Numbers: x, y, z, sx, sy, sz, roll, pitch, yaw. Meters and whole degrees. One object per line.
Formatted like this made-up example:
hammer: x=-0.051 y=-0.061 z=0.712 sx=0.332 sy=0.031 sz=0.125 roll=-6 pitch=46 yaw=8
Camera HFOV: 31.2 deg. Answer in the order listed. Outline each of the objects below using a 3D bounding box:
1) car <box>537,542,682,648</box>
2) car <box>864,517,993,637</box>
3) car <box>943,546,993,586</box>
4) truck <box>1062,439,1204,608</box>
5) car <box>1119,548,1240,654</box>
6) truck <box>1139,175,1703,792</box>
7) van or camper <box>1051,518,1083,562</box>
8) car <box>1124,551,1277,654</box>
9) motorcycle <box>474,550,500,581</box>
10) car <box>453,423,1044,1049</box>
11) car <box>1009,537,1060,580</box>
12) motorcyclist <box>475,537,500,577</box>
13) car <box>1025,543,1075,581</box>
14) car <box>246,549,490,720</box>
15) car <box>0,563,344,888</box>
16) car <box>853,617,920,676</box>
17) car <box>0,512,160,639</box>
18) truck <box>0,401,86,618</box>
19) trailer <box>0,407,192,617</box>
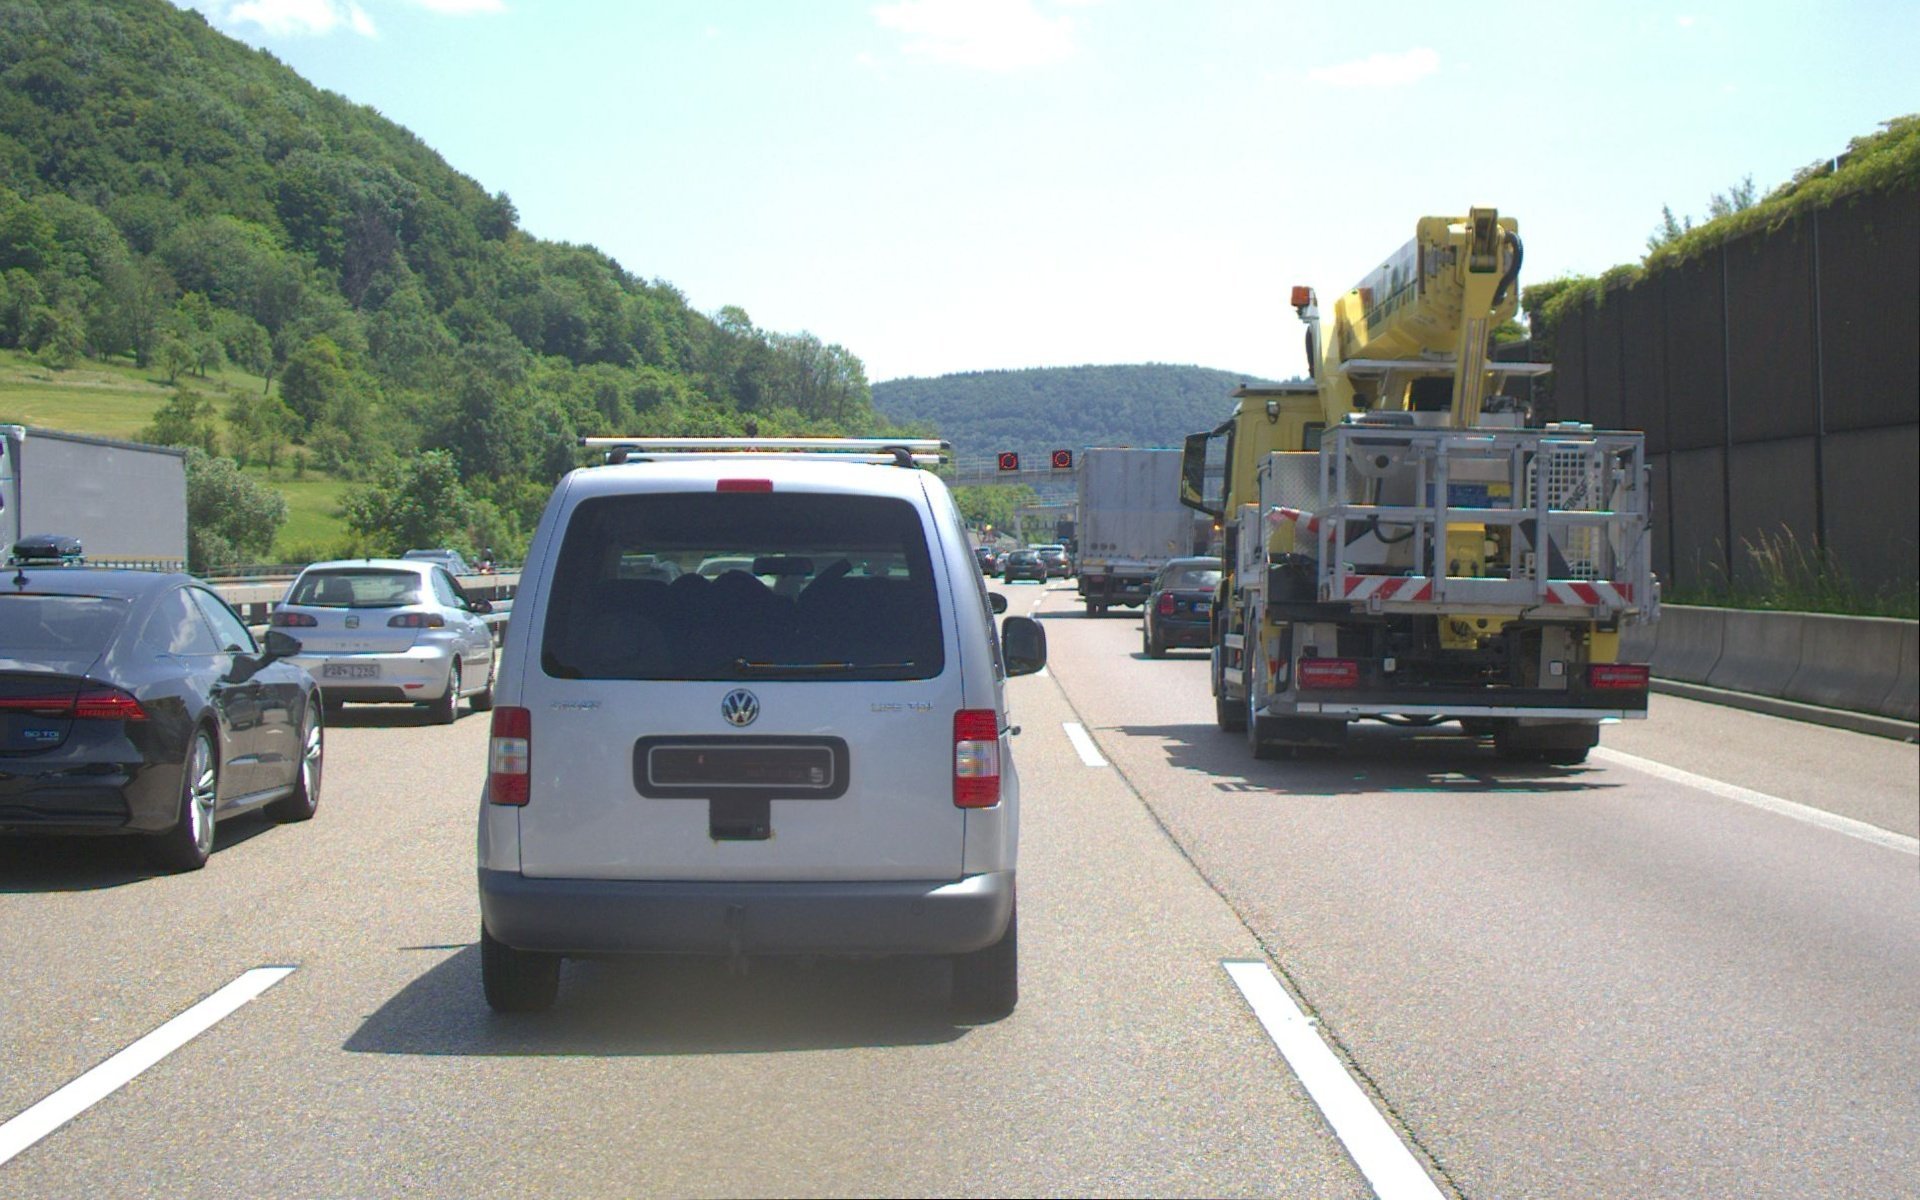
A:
car: x=-5.124 y=-0.100 z=50.684 sx=1.924 sy=1.494 sz=4.001 roll=1 pitch=1 yaw=-3
car: x=-0.568 y=-0.405 z=58.281 sx=1.993 sy=1.969 sz=4.001 roll=0 pitch=1 yaw=-3
car: x=0.348 y=-1.607 z=163.590 sx=2.114 sy=1.821 sz=4.000 roll=1 pitch=0 yaw=-3
truck: x=4.057 y=-1.771 z=82.345 sx=2.940 sy=3.810 sz=8.237 roll=1 pitch=0 yaw=0
car: x=4.251 y=-0.009 z=67.167 sx=1.993 sy=2.007 sz=4.000 roll=0 pitch=1 yaw=-2
truck: x=3.182 y=-0.811 z=26.336 sx=2.703 sy=3.929 sz=8.723 roll=0 pitch=1 yaw=-3
van or camper: x=7.338 y=-4.091 z=236.839 sx=1.993 sy=2.943 sz=5.423 roll=1 pitch=0 yaw=0
car: x=3.494 y=0.004 z=50.548 sx=1.786 sy=1.453 sz=3.771 roll=0 pitch=1 yaw=-3
motorcycle: x=-17.688 y=-1.279 z=128.587 sx=0.718 sy=1.145 sz=2.130 roll=0 pitch=1 yaw=-1
car: x=-0.735 y=0.372 z=12.261 sx=1.756 sy=1.861 sz=4.001 roll=0 pitch=1 yaw=-3
car: x=3.074 y=-1.701 z=142.403 sx=1.993 sy=1.743 sz=4.000 roll=1 pitch=0 yaw=0
motorcyclist: x=-17.678 y=-1.619 z=128.552 sx=0.844 sy=1.496 sz=0.838 roll=0 pitch=1 yaw=-1
car: x=4.462 y=-1.889 z=170.366 sx=2.114 sy=1.821 sz=4.000 roll=1 pitch=0 yaw=-3
car: x=-5.258 y=0.262 z=30.956 sx=1.695 sy=1.440 sz=3.862 roll=0 pitch=1 yaw=-3
car: x=-4.420 y=0.521 z=17.394 sx=1.800 sy=1.385 sz=4.970 roll=0 pitch=1 yaw=-1
car: x=-2.386 y=1.511 z=112.629 sx=2.114 sy=1.821 sz=4.000 roll=1 pitch=0 yaw=0
car: x=-15.261 y=-0.436 z=59.053 sx=1.886 sy=2.111 sz=4.283 roll=0 pitch=1 yaw=2
truck: x=-19.918 y=-1.752 z=68.545 sx=3.278 sy=4.134 sz=6.955 roll=0 pitch=0 yaw=-1
trailer: x=-19.883 y=-1.814 z=75.089 sx=3.247 sy=4.190 sz=13.000 roll=1 pitch=0 yaw=0
